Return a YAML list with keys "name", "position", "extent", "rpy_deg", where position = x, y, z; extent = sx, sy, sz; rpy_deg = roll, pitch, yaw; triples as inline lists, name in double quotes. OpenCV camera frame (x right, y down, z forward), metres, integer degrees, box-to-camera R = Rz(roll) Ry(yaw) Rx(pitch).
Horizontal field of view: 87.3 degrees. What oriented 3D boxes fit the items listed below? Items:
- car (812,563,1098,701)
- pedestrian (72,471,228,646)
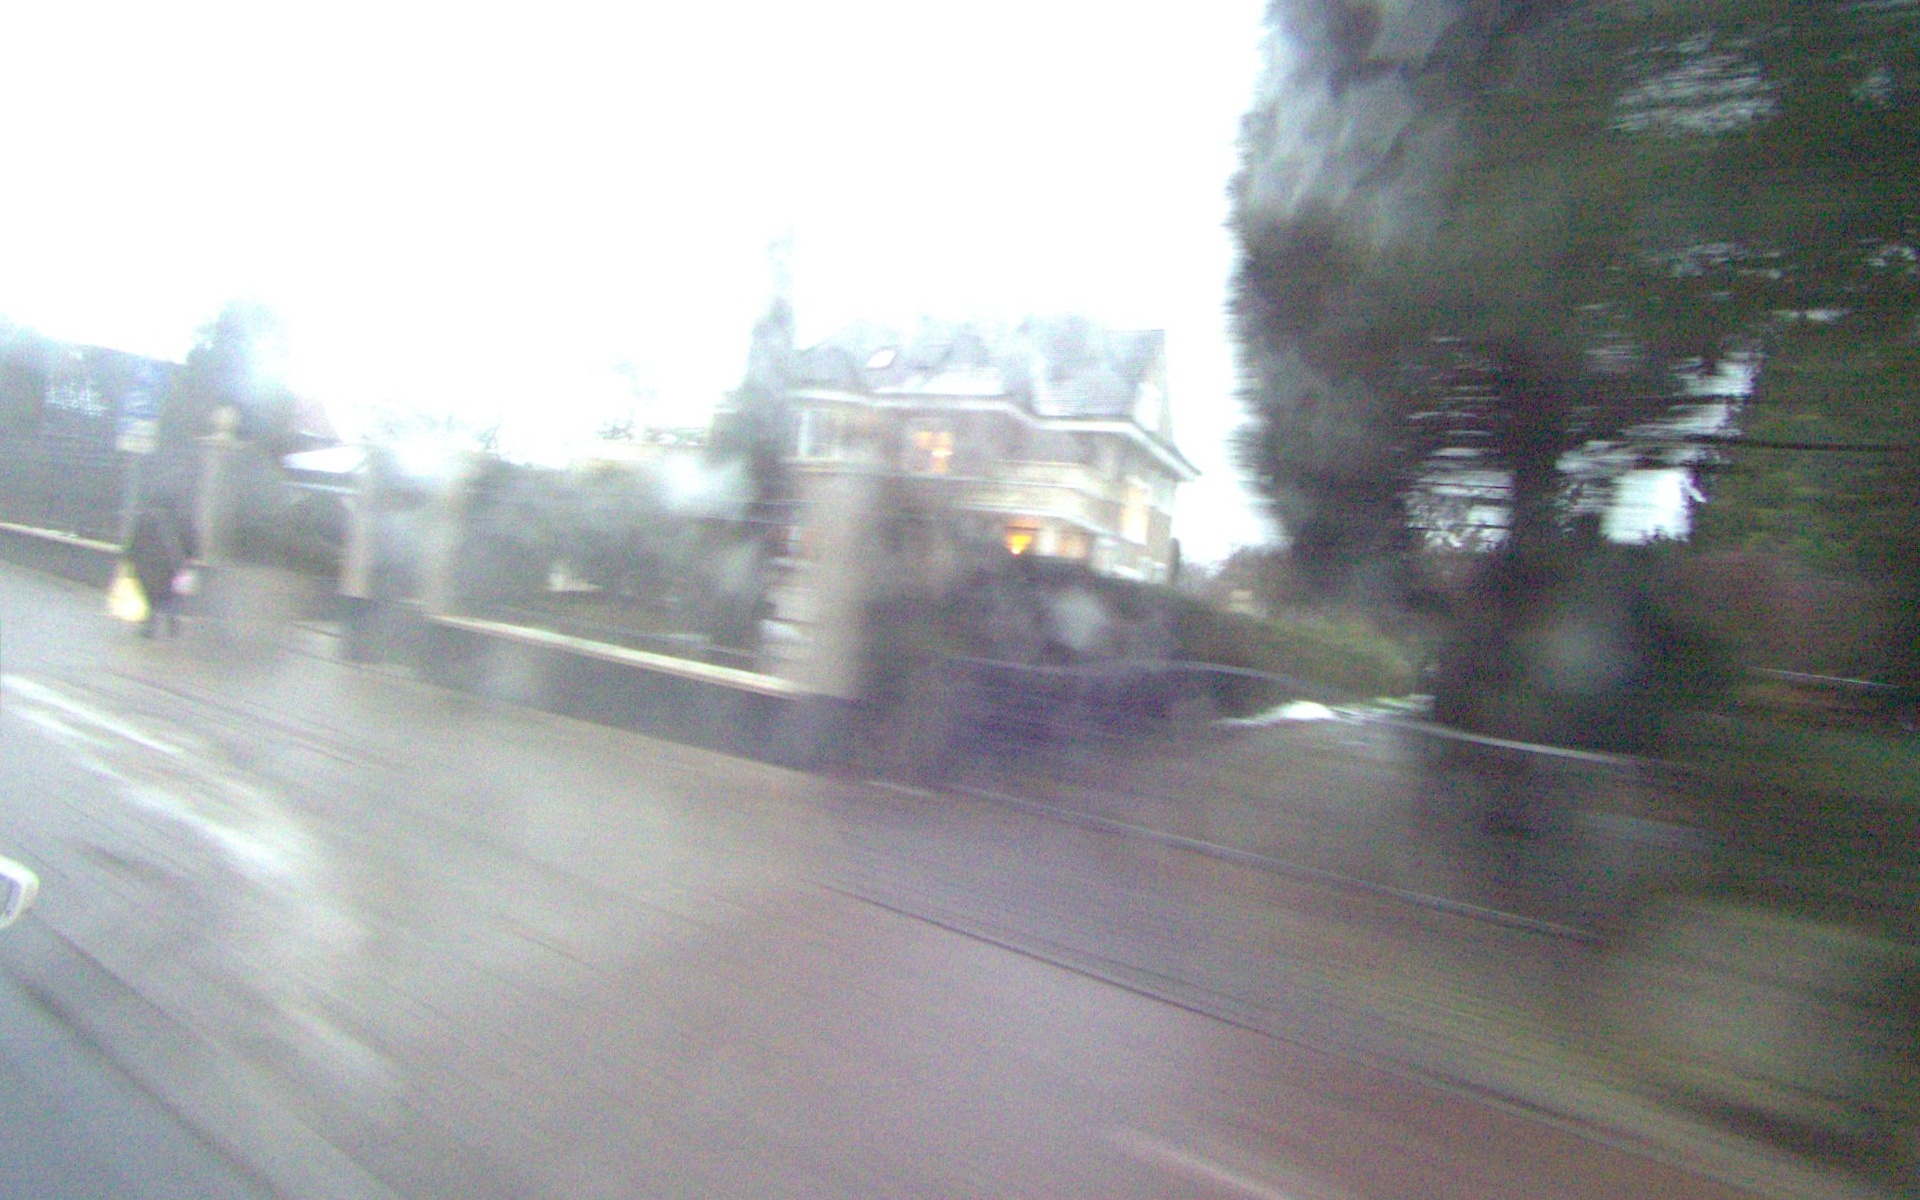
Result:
- name: "car"
  position: [-0.091, 0.500, 16.615]
  extent: [4.156, 1.683, 1.945]
  rpy_deg: [7, 0, 27]
- name: "pedestrian"
  position: [-8.871, -0.442, 11.023]
  extent: [1.039, 1.764, 0.987]
  rpy_deg: [7, 2, 34]
